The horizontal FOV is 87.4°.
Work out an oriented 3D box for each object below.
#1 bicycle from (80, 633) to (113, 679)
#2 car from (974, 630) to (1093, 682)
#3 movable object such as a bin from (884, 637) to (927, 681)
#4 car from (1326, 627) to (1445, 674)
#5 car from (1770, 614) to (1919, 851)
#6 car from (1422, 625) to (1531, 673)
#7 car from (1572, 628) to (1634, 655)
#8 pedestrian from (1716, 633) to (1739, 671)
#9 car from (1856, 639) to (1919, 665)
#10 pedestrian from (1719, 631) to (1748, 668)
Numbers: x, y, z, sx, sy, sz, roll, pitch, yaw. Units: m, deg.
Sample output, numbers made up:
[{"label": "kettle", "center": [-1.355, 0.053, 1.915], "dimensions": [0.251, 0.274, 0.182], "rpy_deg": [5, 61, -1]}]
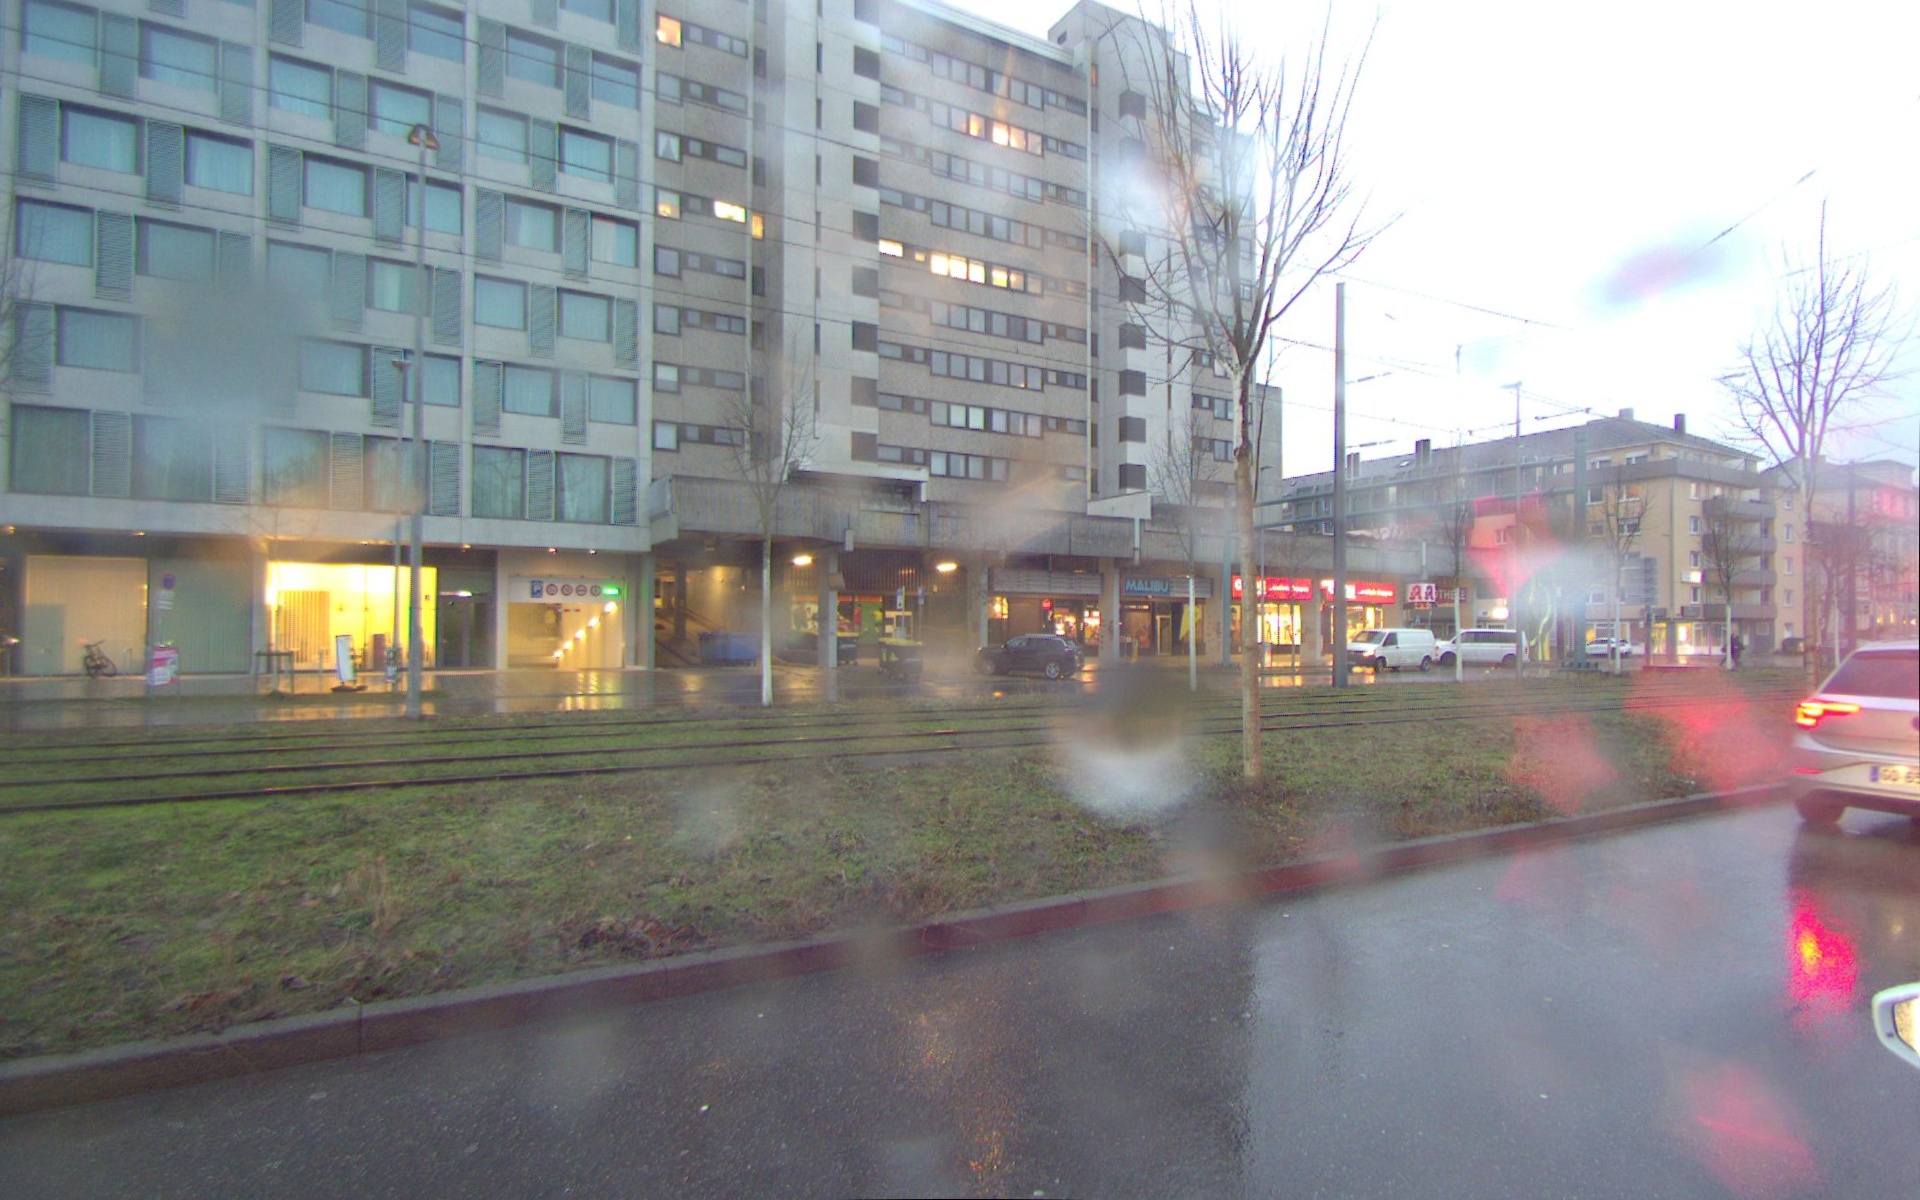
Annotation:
[{"label": "bicycle", "center": [-25.190, 1.617, 29.321], "dimensions": [0.460, 1.255, 1.527], "rpy_deg": [2, 0, -31]}, {"label": "car", "center": [2.803, 2.074, 38.334], "dimensions": [4.066, 1.715, 1.982], "rpy_deg": [2, 0, 28]}, {"label": "movable object such as a bin", "center": [-1.911, 2.032, 35.011], "dimensions": [1.023, 1.445, 1.061], "rpy_deg": [2, 0, -41]}, {"label": "car", "center": [20.027, 2.365, 47.215], "dimensions": [5.491, 2.073, 1.987], "rpy_deg": [2, 0, -26]}, {"label": "car", "center": [8.034, 0.916, 7.644], "dimensions": [3.954, 1.554, 1.684], "rpy_deg": [1, -1, -31]}, {"label": "car", "center": [27.120, 2.533, 52.912], "dimensions": [4.734, 2.274, 2.001], "rpy_deg": [2, 0, 15]}, {"label": "car", "center": [51.259, 3.287, 80.088], "dimensions": [1.826, 1.968, 3.720], "rpy_deg": [2, 0, -37]}, {"label": "pedestrian", "center": [42.071, 2.847, 55.043], "dimensions": [0.948, 2.040, 1.003], "rpy_deg": [-1, -2, 41]}, {"label": "car", "center": [53.658, 2.997, 57.847], "dimensions": [4.265, 1.350, 1.850], "rpy_deg": [2, 0, -31]}, {"label": "pedestrian", "center": [44.016, 2.806, 57.158], "dimensions": [1.253, 2.040, 1.004], "rpy_deg": [-1, -2, 36]}]
